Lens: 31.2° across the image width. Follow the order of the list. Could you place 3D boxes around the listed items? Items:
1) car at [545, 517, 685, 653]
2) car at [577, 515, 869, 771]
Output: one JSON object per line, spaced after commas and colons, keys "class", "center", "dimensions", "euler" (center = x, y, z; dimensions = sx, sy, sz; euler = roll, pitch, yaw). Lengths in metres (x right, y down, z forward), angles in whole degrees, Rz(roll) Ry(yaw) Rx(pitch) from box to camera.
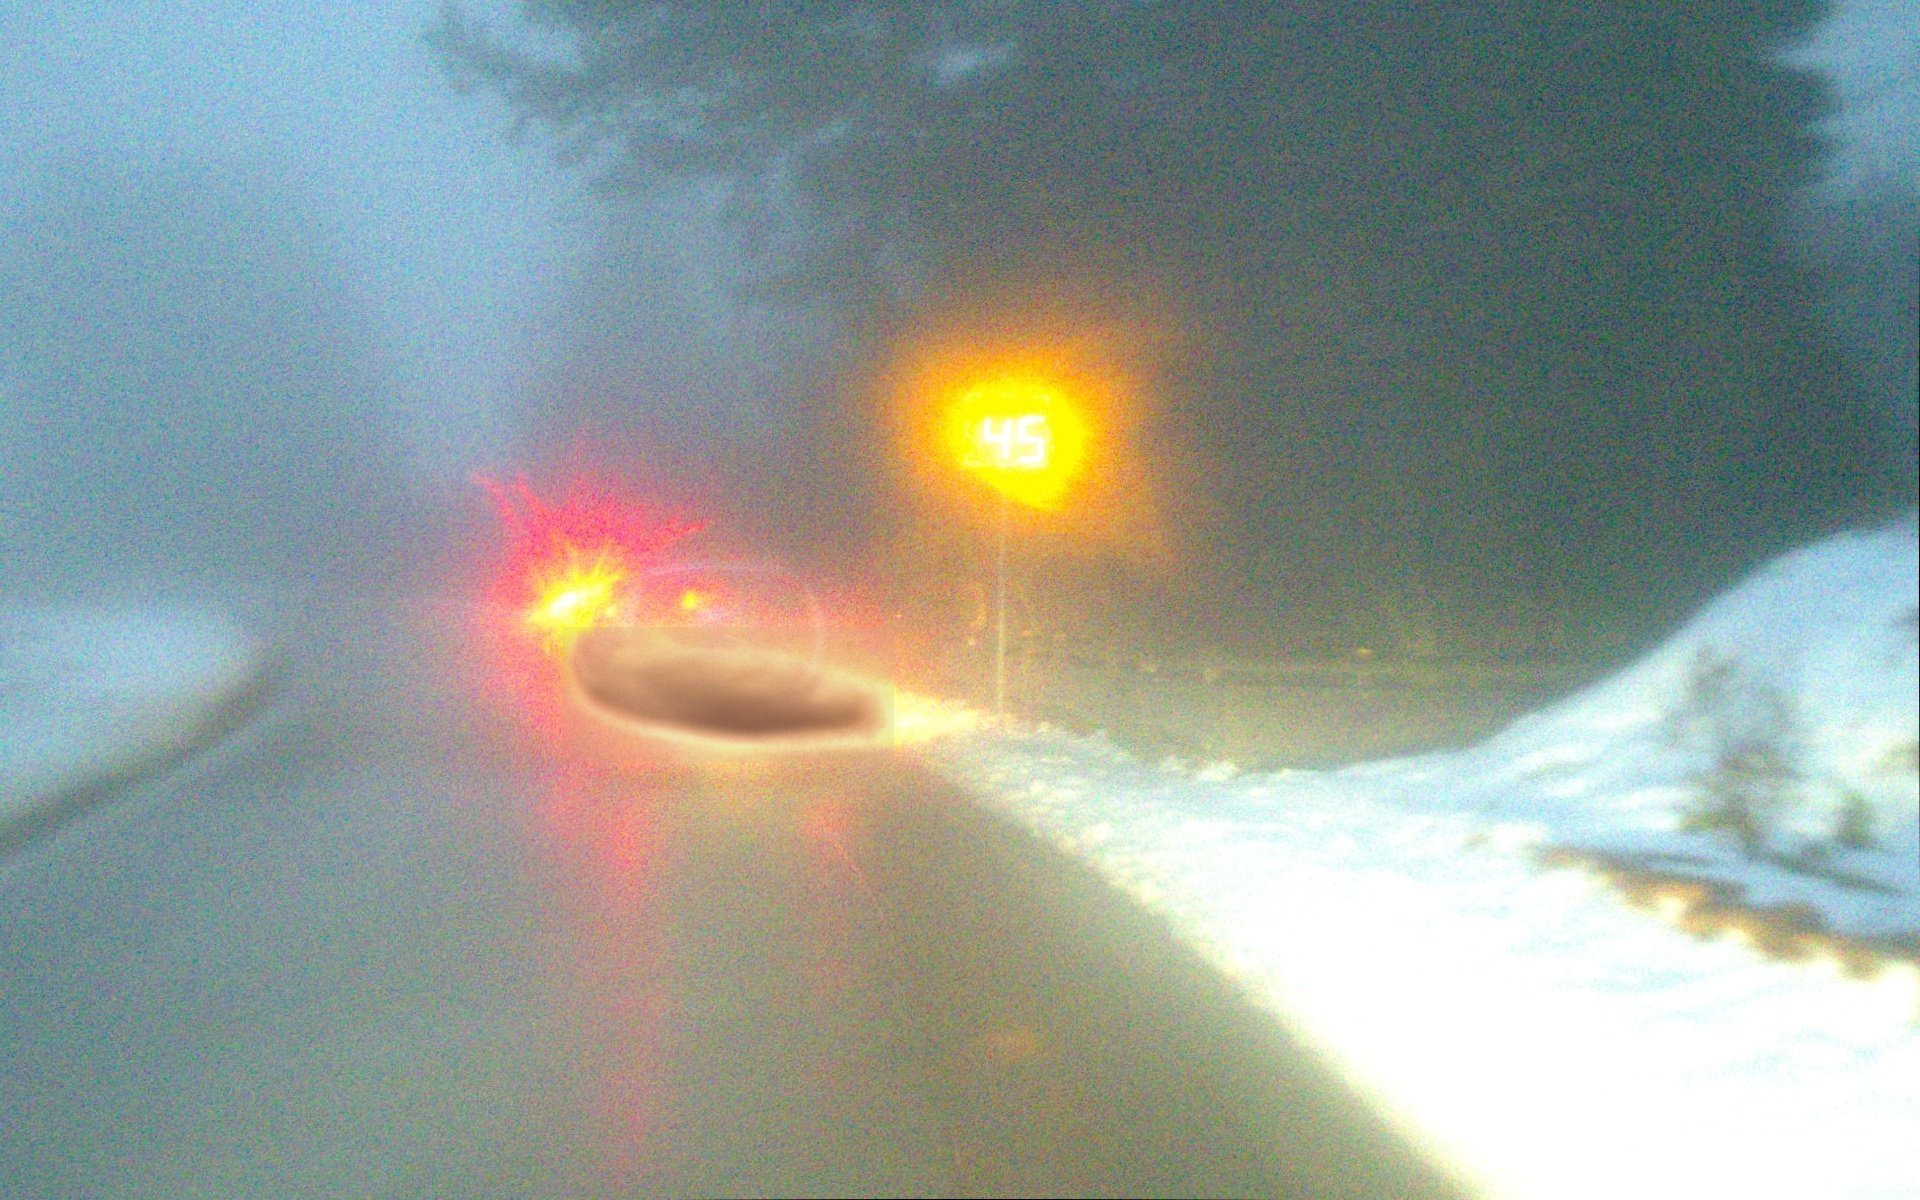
{"class": "car", "center": [-3.940, -0.180, 39.531], "dimensions": [1.478, 1.503, 3.053], "euler": [0, 1, -3]}
{"class": "car", "center": [-1.639, 0.313, 23.789], "dimensions": [1.707, 1.458, 4.000], "euler": [6, -2, -4]}
